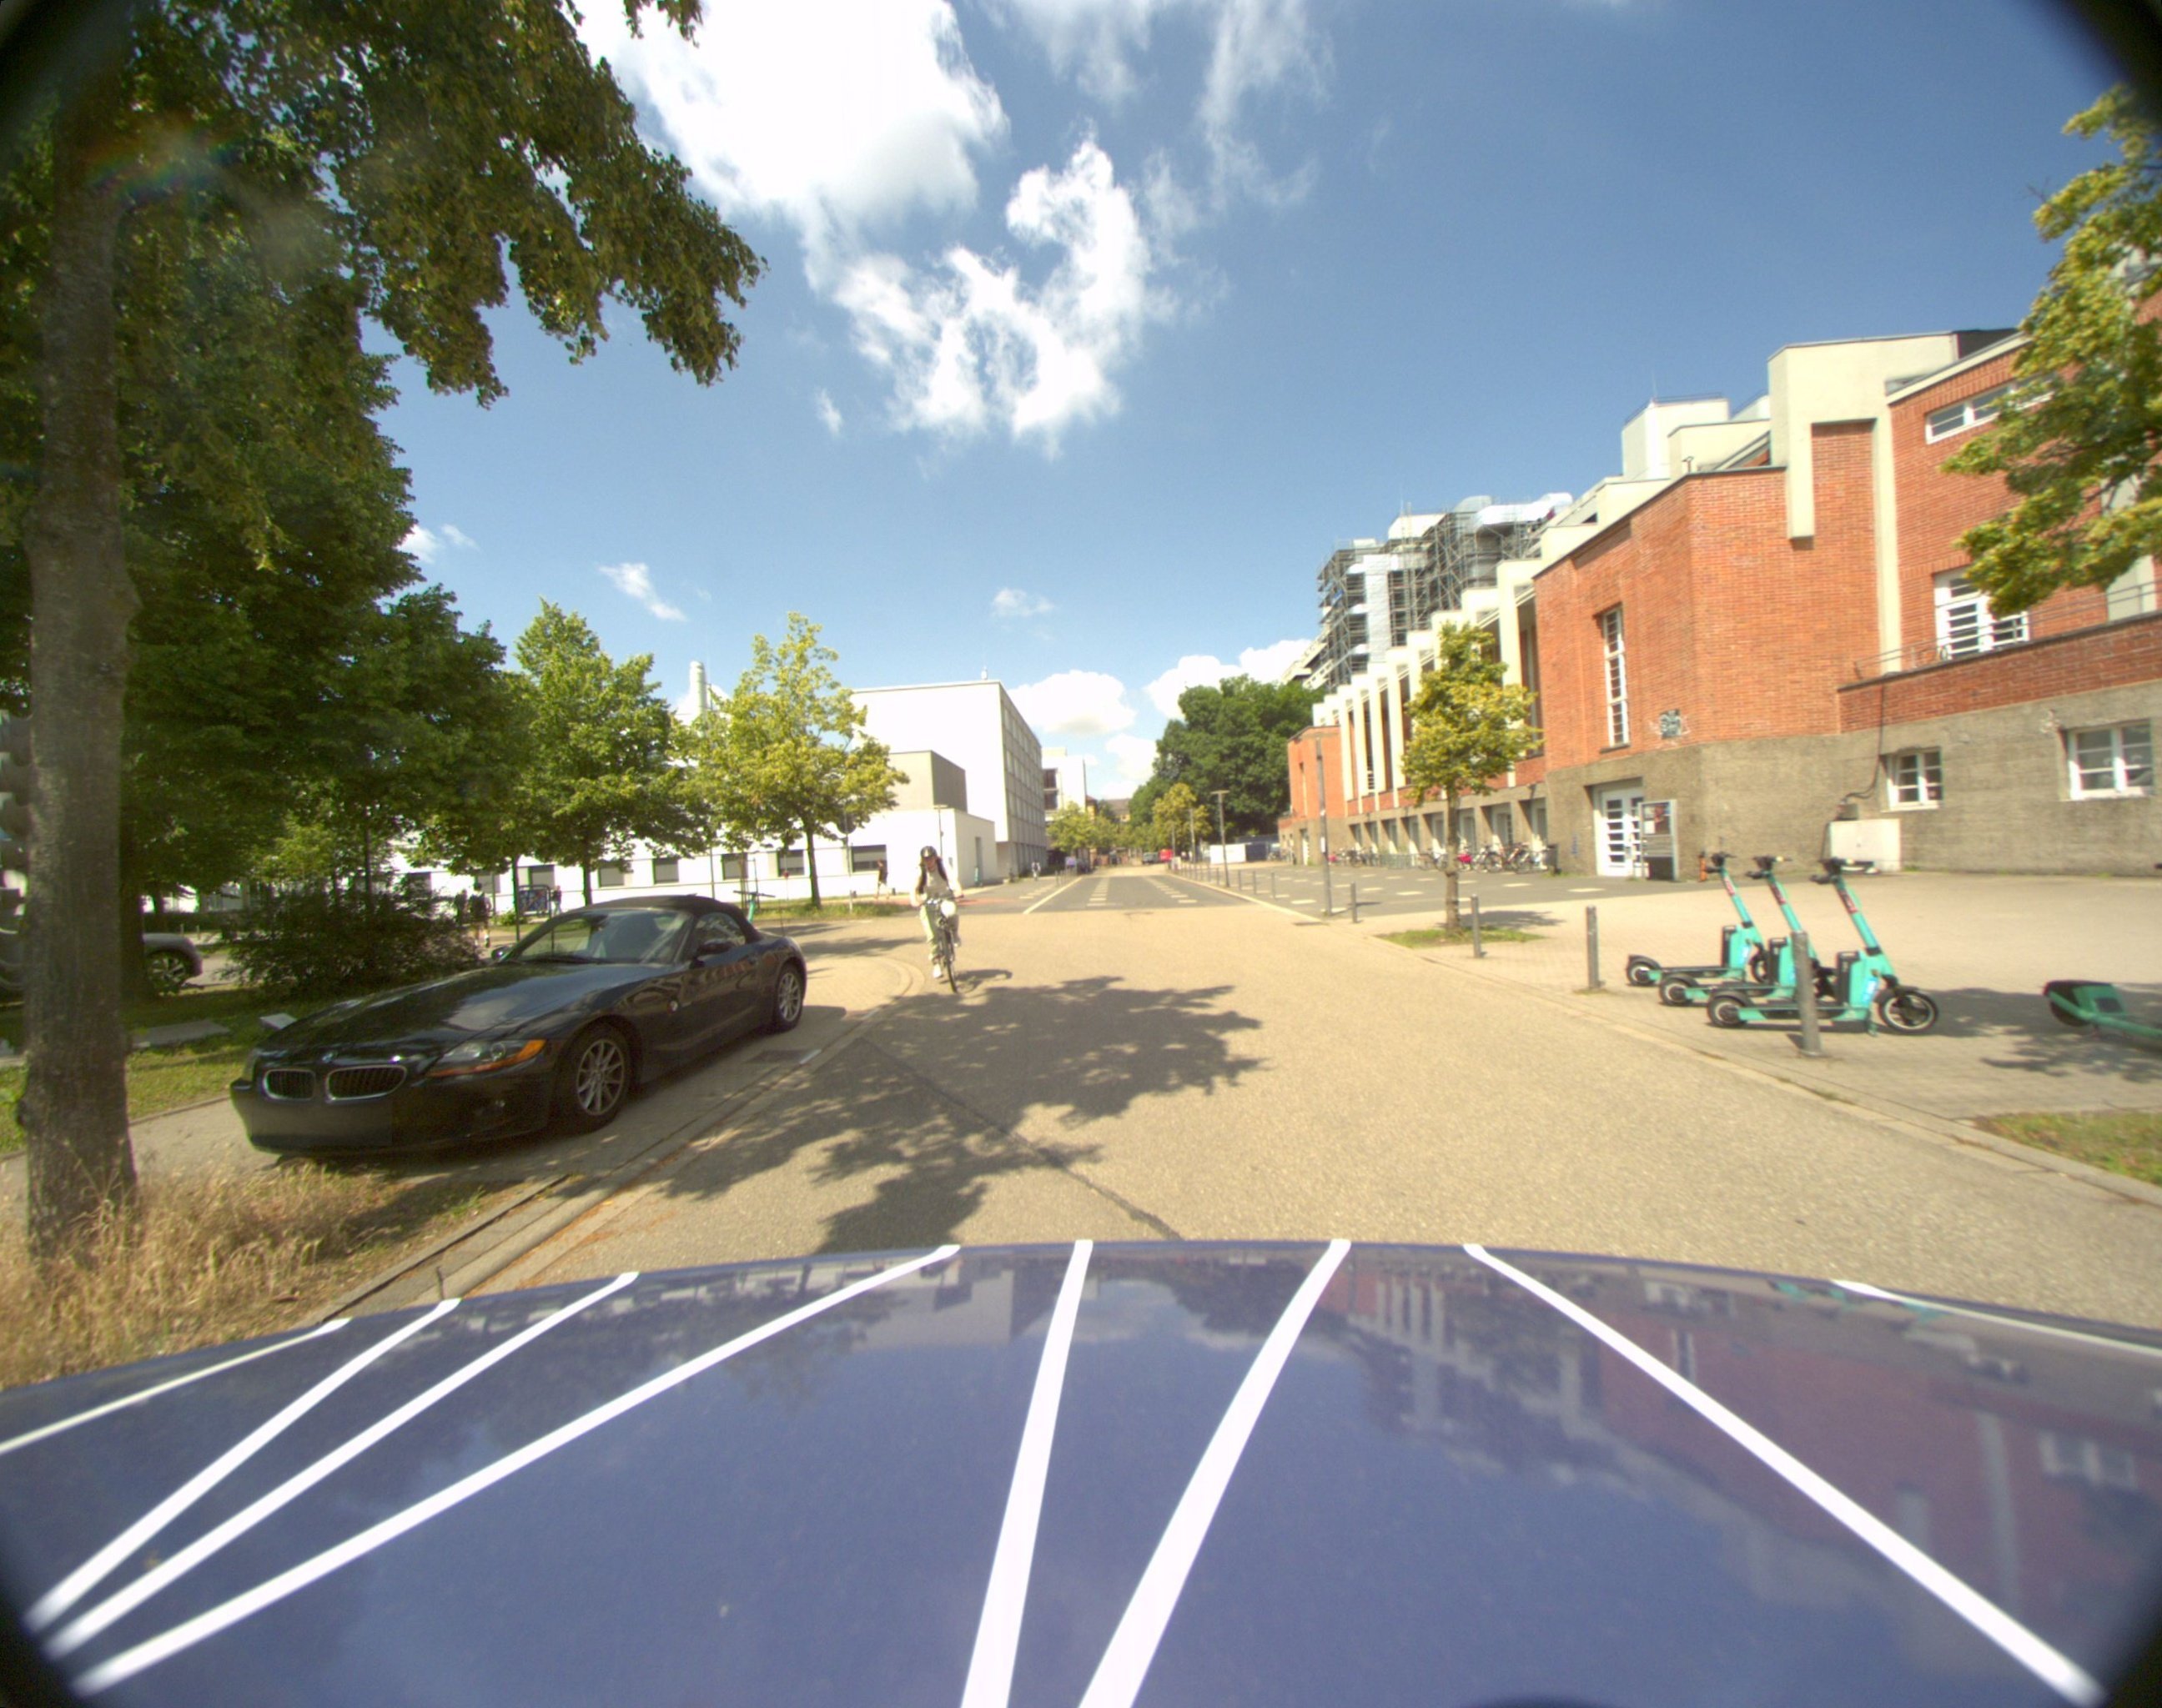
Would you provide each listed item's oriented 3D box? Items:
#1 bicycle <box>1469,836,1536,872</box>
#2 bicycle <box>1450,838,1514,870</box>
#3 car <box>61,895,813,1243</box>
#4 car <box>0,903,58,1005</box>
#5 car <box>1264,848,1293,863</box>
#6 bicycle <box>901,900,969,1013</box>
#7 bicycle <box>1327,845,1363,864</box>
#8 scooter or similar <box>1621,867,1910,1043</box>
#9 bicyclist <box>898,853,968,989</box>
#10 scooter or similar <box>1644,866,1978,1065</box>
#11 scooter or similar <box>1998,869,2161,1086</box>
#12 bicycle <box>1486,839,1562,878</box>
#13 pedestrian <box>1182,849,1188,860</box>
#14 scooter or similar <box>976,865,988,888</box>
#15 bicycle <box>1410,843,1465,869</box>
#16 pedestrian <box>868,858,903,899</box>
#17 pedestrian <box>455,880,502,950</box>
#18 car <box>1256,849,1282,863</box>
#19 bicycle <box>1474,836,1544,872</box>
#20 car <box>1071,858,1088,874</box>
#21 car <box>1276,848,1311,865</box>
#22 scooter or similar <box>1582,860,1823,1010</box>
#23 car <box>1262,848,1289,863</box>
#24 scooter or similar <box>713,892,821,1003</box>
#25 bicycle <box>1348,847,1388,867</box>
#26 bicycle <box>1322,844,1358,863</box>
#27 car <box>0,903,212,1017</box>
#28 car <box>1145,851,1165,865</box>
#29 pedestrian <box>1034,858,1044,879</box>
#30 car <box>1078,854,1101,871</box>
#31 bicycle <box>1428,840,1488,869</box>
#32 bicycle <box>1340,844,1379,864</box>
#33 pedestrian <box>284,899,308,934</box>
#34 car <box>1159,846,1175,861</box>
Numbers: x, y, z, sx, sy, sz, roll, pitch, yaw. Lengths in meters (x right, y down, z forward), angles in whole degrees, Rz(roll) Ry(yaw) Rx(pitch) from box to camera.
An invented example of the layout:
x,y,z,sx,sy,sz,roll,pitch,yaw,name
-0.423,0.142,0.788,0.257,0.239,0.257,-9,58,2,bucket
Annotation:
x,y,z,sx,sy,sz,roll,pitch,yaw,name
15.066,-0.011,27.206,2.026,1.119,0.439,-5,0,6,bicycle
15.150,0.009,28.726,2.014,1.076,0.622,-3,0,2,bicycle
-3.620,1.086,5.407,1.712,1.273,4.001,-3,0,4,car
-20.793,1.907,12.711,1.823,1.827,4.000,-3,0,1,car
17.567,0.139,67.520,2.367,1.173,0.794,-3,0,4,car
-1.731,1.159,9.221,0.675,1.066,2.134,-3,0,-9,bicycle
15.730,0.035,45.306,1.955,1.024,0.518,-3,0,2,bicycle
5.296,0.759,6.012,1.571,1.218,0.566,-3,1,30,scooter or similar
-1.741,0.750,9.048,0.675,1.470,1.061,-4,2,-9,bicyclist
4.985,0.736,5.327,1.571,1.218,0.525,-3,1,30,scooter or similar
6.322,0.700,4.408,0.564,1.142,1.351,-3,1,15,scooter or similar
14.337,0.144,24.622,2.026,1.119,0.667,-3,0,2,bicycle
14.313,0.060,104.817,0.642,1.529,0.453,-3,1,14,pedestrian
-5.391,1.205,41.396,0.326,1.228,1.074,-3,0,5,scooter or similar
15.168,0.081,32.344,1.955,0.954,0.685,-3,0,2,bicycle
-8.911,1.114,34.648,1.168,1.789,1.023,-1,0,31,pedestrian
-15.588,1.574,19.677,0.582,1.735,0.642,-3,0,5,pedestrian
17.757,0.164,71.810,2.324,1.173,0.479,-3,0,4,car
14.852,0.011,26.399,2.026,1.119,0.592,-3,0,3,bicycle
-0.114,1.130,72.642,1.552,1.377,3.454,-3,0,1,car
16.663,0.224,59.682,2.527,1.173,0.632,-3,0,4,car
5.513,0.705,6.860,1.571,1.218,0.571,-3,1,30,scooter or similar
17.756,0.148,69.352,2.288,1.173,0.524,-3,0,4,car
-4.043,1.169,9.897,0.554,1.247,1.383,-3,1,11,scooter or similar
15.661,0.158,41.503,1.955,0.935,0.569,-3,0,2,bicycle
15.761,-0.010,46.276,1.955,1.024,0.542,-3,0,2,bicycle
-18.039,1.814,12.704,1.893,1.642,4.363,-4,-1,1,car
12.411,0.654,127.604,2.023,2.079,4.439,-4,-1,24,car
-2.942,0.982,53.203,0.525,1.430,0.701,-3,0,5,pedestrian
0.953,0.929,80.899,1.939,1.671,3.471,-3,0,7,car
15.156,0.025,30.547,2.026,1.055,0.663,-3,0,2,bicycle
15.712,-0.005,42.926,1.955,1.024,0.530,-3,0,2,bicycle
-38.817,3.072,37.560,0.713,1.647,0.728,-3,1,43,pedestrian
11.497,-0.086,101.290,1.912,1.870,4.003,-3,-1,9,car
